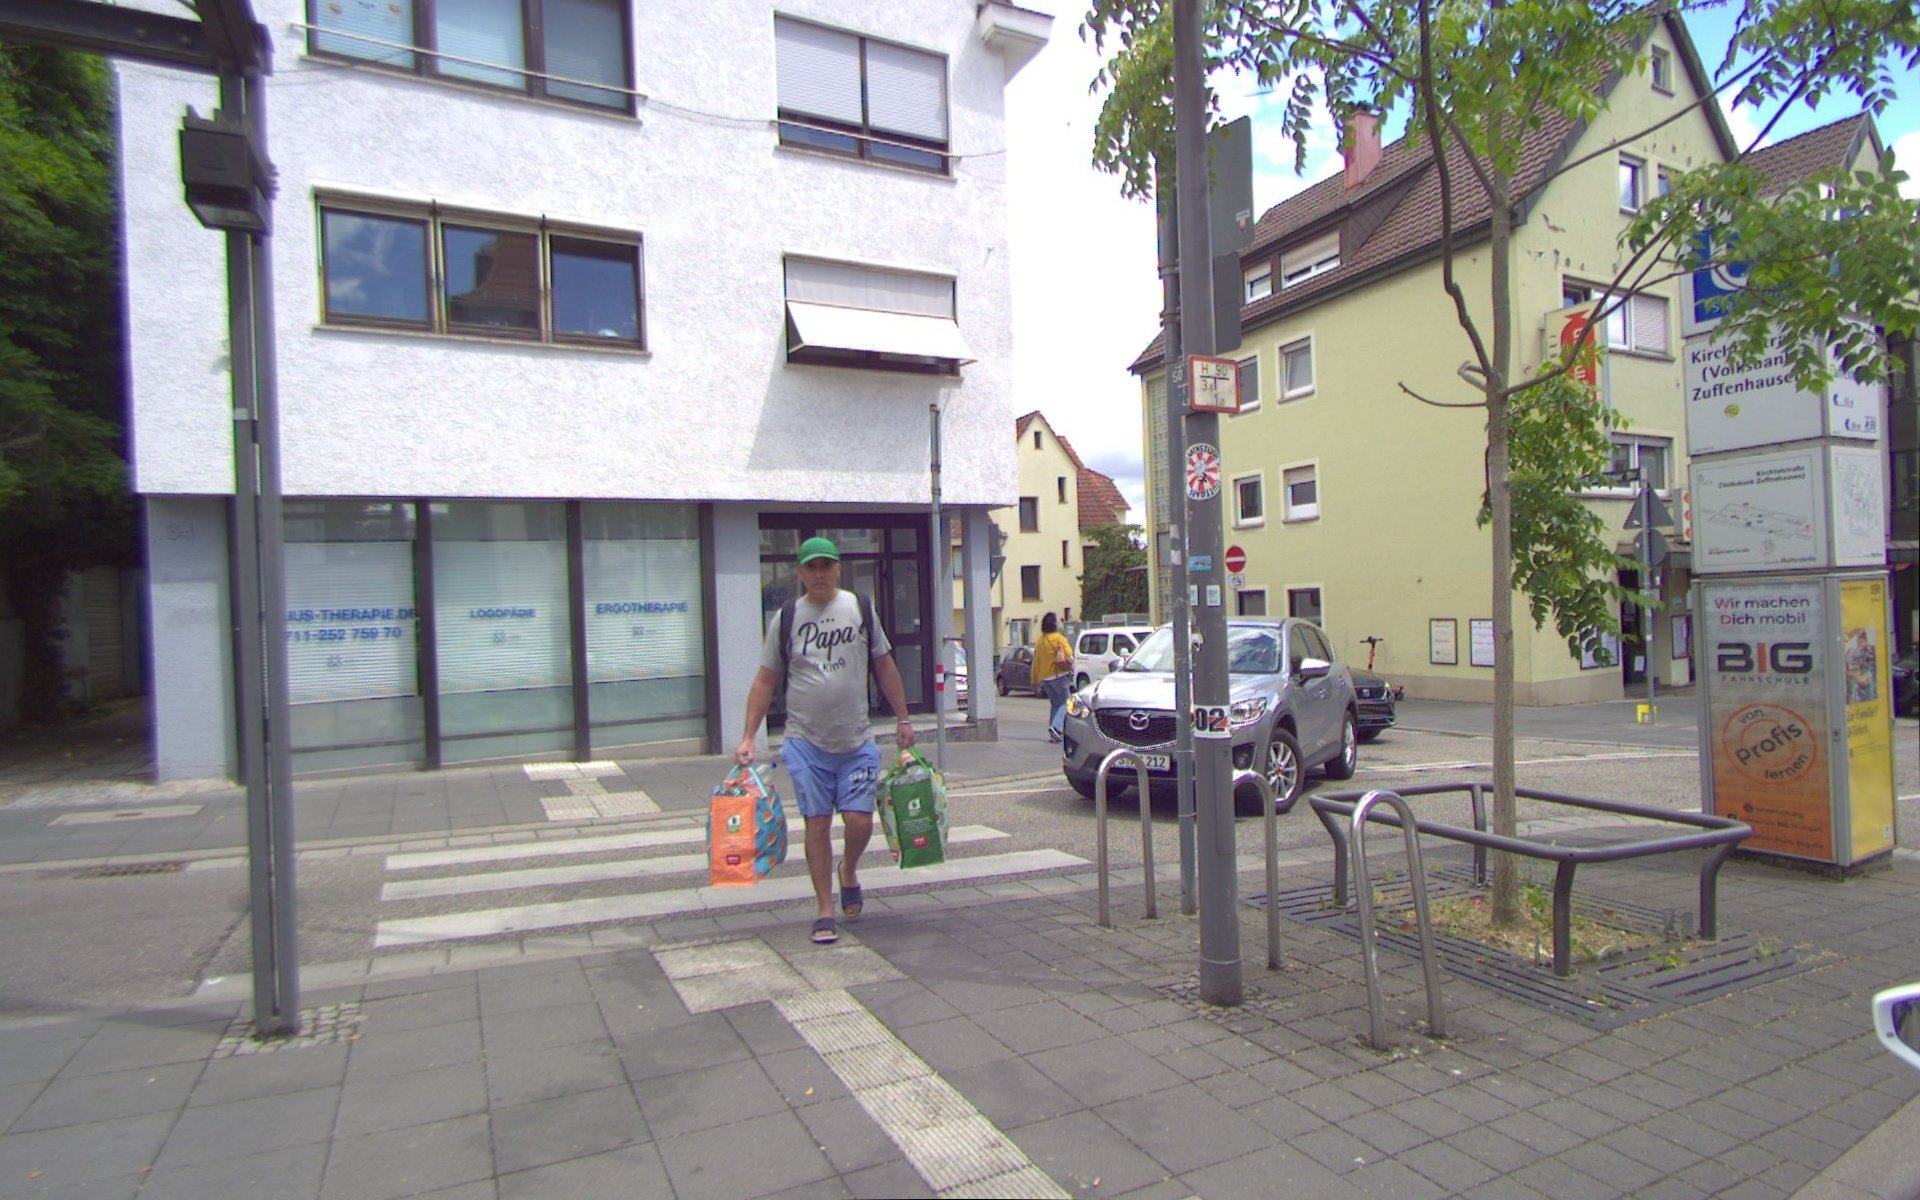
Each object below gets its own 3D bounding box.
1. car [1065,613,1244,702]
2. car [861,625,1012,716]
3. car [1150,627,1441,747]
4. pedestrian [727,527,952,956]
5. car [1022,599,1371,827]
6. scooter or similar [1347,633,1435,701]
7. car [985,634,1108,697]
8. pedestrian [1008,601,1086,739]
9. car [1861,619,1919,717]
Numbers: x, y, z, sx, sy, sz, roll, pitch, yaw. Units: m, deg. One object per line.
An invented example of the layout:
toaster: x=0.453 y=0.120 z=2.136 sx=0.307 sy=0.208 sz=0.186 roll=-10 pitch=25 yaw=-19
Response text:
car: x=4.490 y=1.389 z=23.913 sx=1.973 sy=1.829 sz=4.329 roll=-2 pitch=-3 yaw=-25
car: x=-0.675 y=1.610 z=22.950 sx=1.841 sy=1.842 sz=4.815 roll=1 pitch=-4 yaw=-22
car: x=5.022 y=1.257 z=15.721 sx=1.889 sy=1.589 sz=4.347 roll=1 pitch=-3 yaw=-24
pedestrian: x=-0.610 y=0.614 z=4.815 sx=0.971 sy=1.811 sz=0.917 roll=0 pitch=-2 yaw=-13
car: x=2.493 y=0.893 z=9.620 sx=1.936 sy=1.642 sz=4.344 roll=-1 pitch=-2 yaw=33
scooter or similar: x=8.853 y=1.362 z=20.685 sx=0.583 sy=1.298 sz=1.585 roll=-3 pitch=-1 yaw=-29
car: x=2.364 y=1.881 z=28.752 sx=1.713 sy=1.650 sz=4.332 roll=1 pitch=-4 yaw=-22
pedestrian: x=1.154 y=0.922 z=13.375 sx=0.826 sy=1.761 sz=0.633 roll=1 pitch=-3 yaw=-32
car: x=19.016 y=1.233 z=18.756 sx=4.553 sy=1.716 sz=1.997 roll=1 pitch=0 yaw=-31
